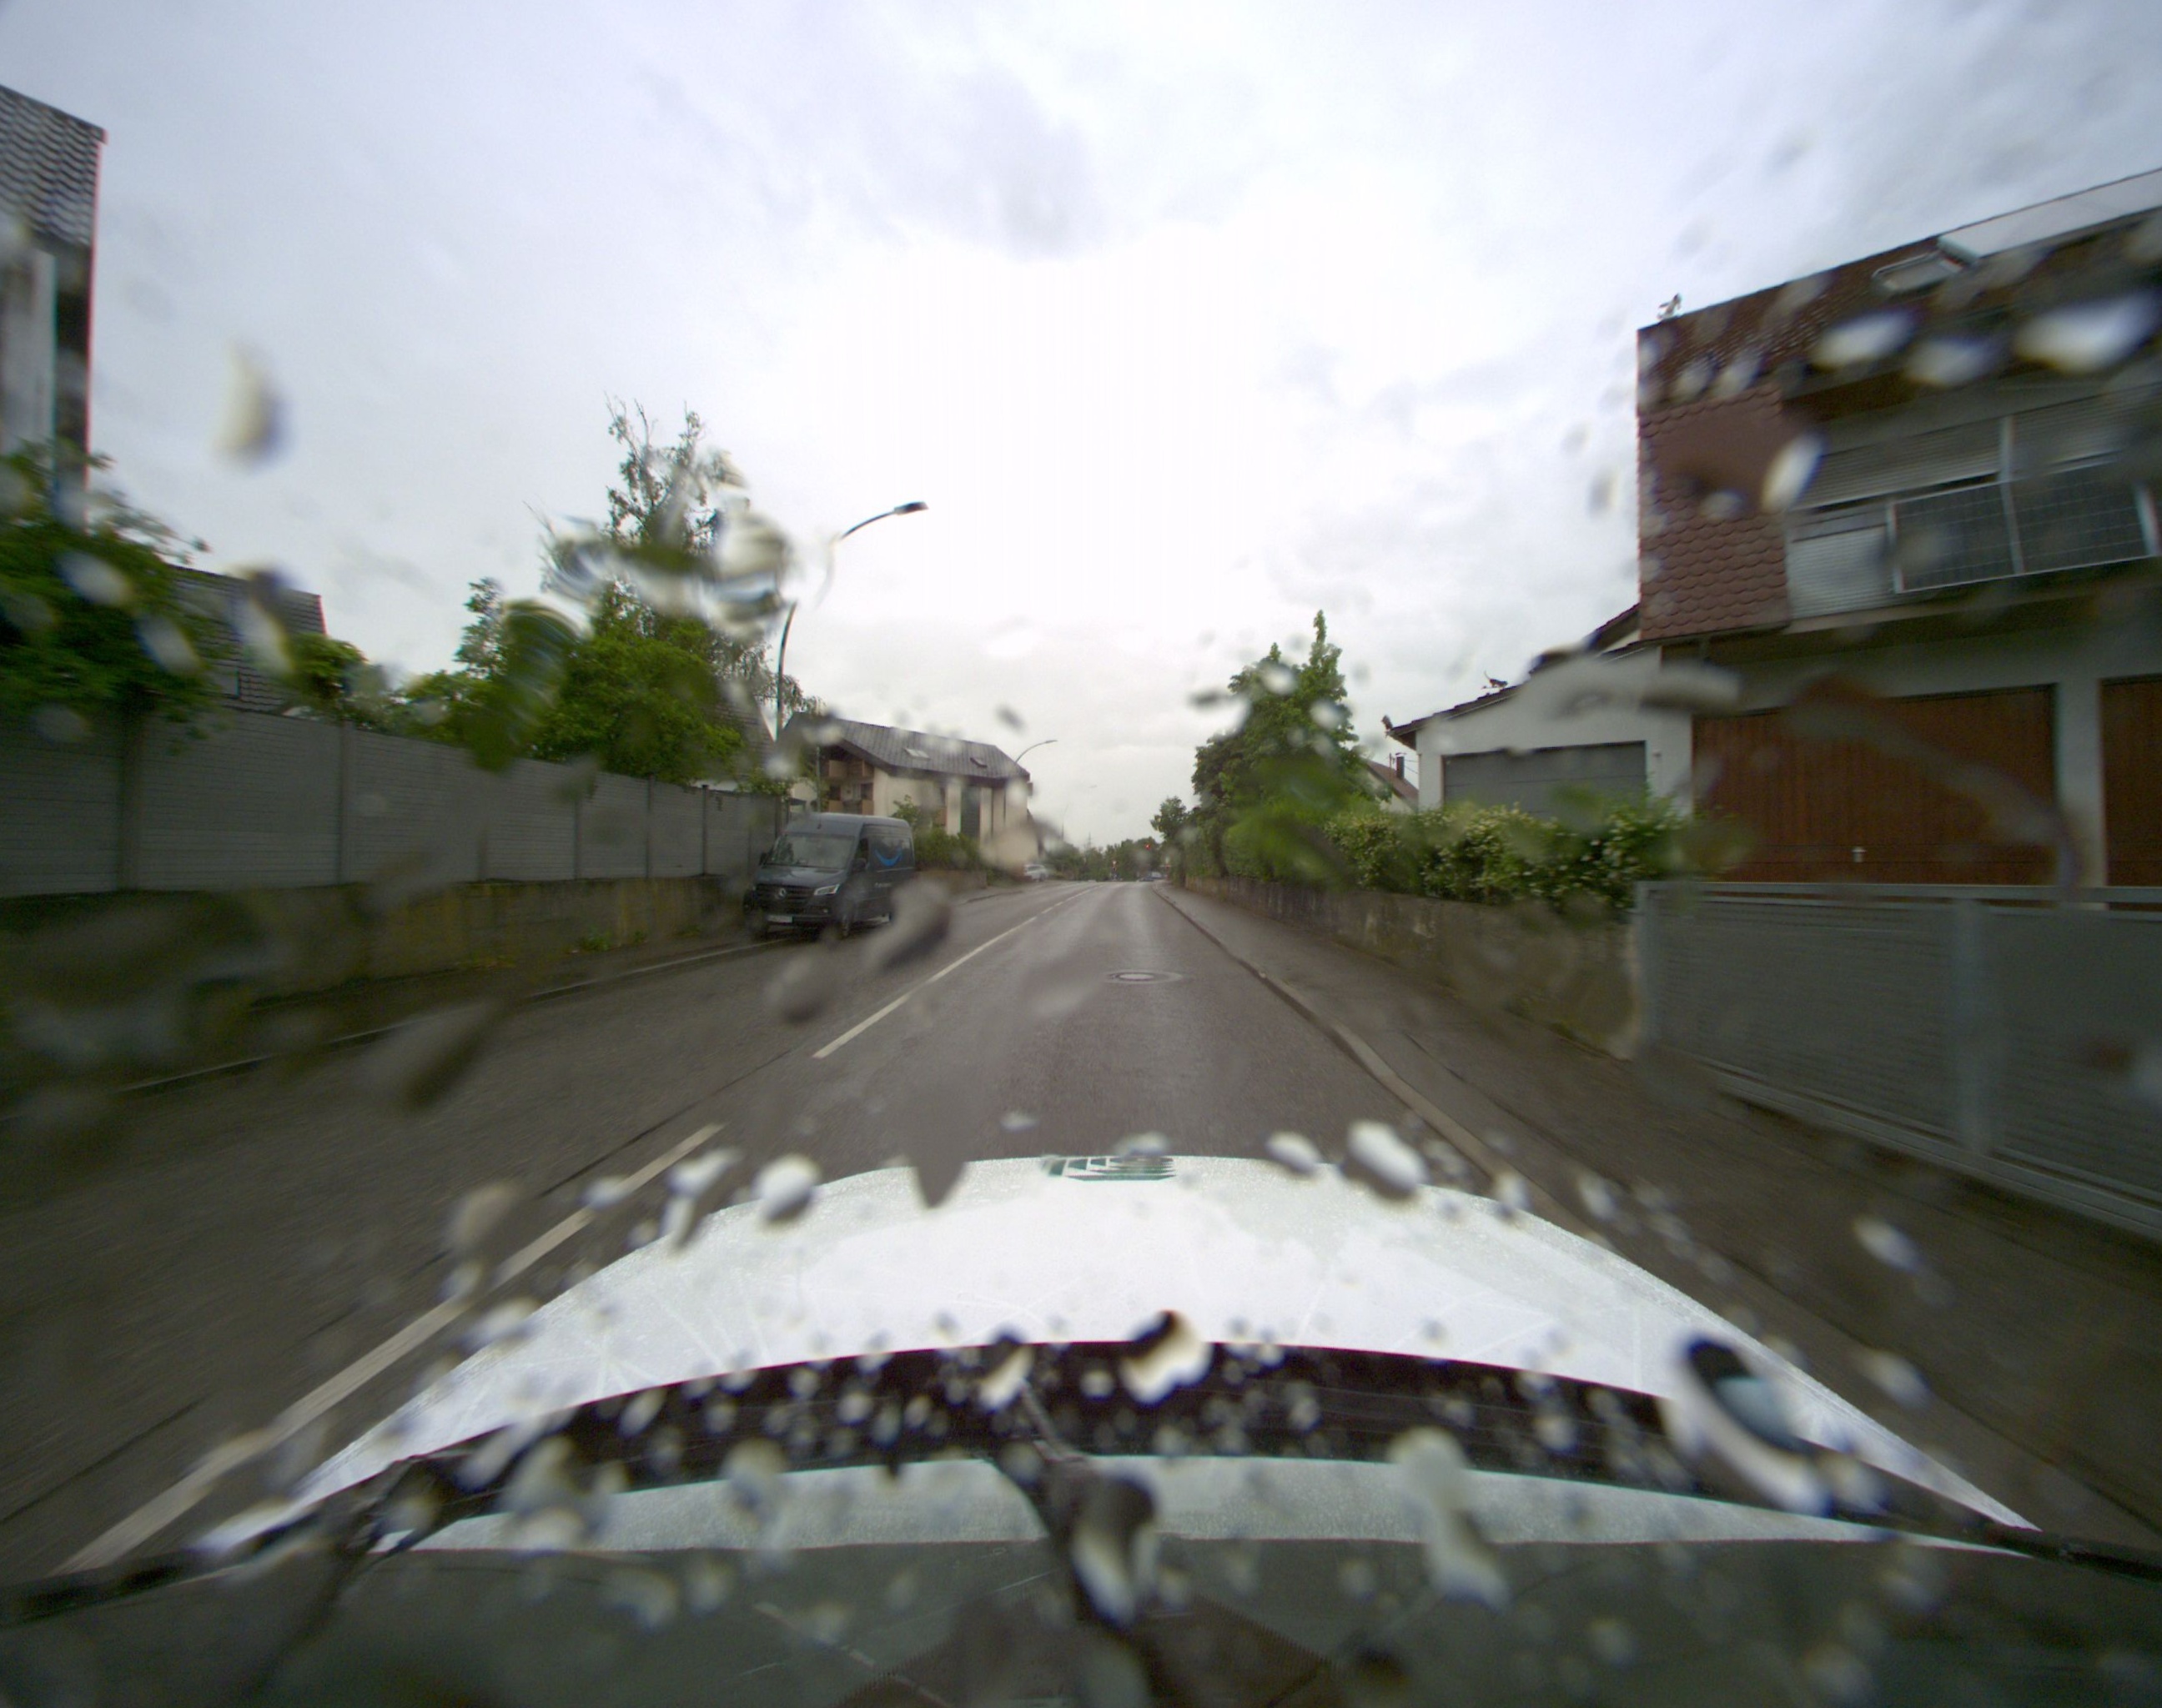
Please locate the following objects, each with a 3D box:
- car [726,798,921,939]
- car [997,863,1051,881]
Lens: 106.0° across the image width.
[{"bbox_3d":[-5.485,0.292,18.452,2.085,2.649,5.925,1,0,4],"label":"car"},{"bbox_3d":[-4.901,1.531,70.799,1.883,1.477,4.912,1,0,38],"label":"car"}]
